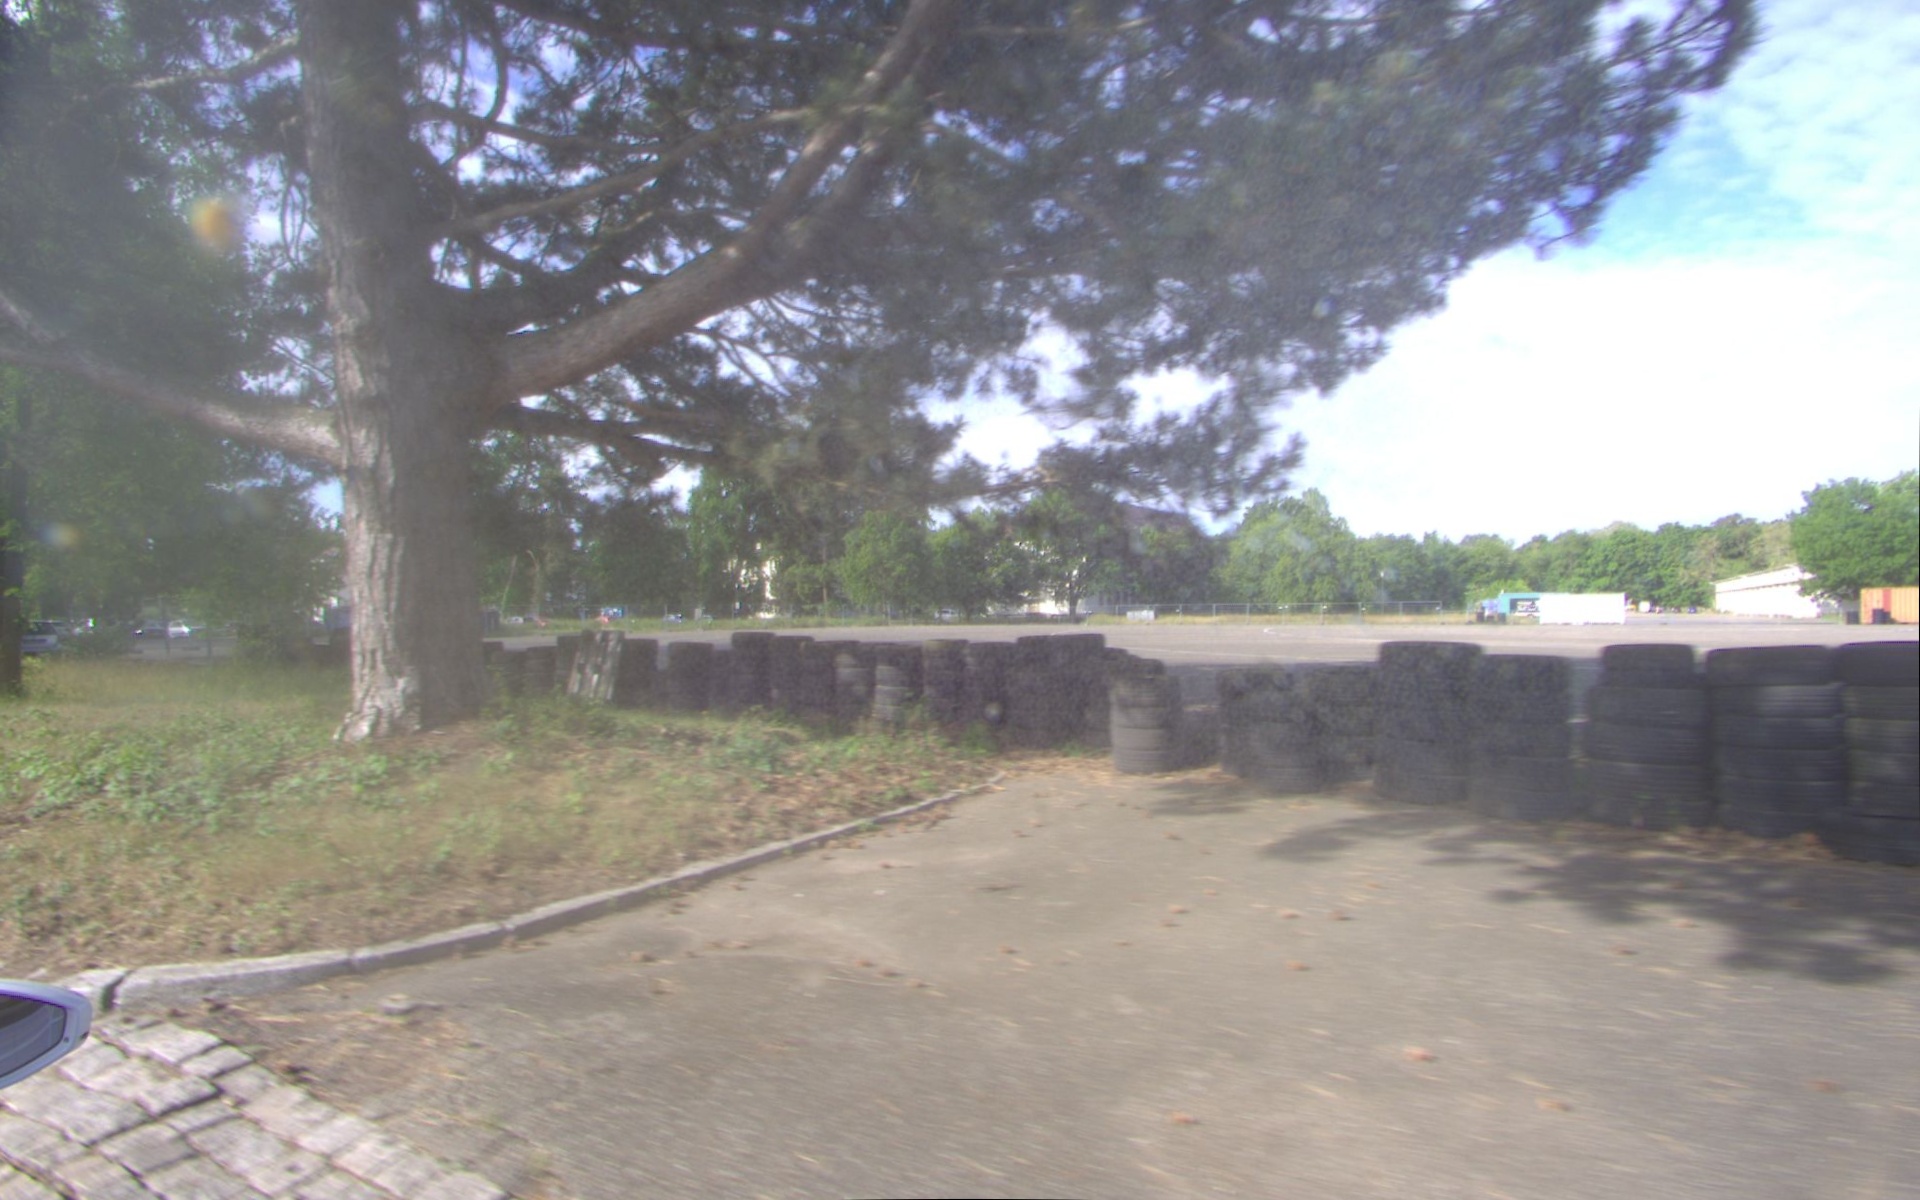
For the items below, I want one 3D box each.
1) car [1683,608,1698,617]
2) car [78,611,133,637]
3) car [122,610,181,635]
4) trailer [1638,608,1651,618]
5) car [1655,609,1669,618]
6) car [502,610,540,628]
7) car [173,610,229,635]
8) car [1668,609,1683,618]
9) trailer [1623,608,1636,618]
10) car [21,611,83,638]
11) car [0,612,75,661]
[{"bbox_3d":[144.989,2.524,198.646,1.970,1.773,3.982,0,-1,30],"label":"car"},{"bbox_3d":[-55.475,1.543,64.982,3.947,1.639,1.815,-1,0,36],"label":"car"},{"bbox_3d":[-54.325,1.521,67.254,3.945,1.639,1.988,-1,0,34],"label":"car"},{"bbox_3d":[139.417,2.620,204.044,2.035,2.040,3.980,0,-1,32],"label":"trailer"},{"bbox_3d":[140.916,2.707,201.103,1.970,1.773,3.982,0,-1,30],"label":"car"},{"bbox_3d":[-44.765,1.953,102.013,3.951,1.773,1.985,-1,0,39],"label":"car"},{"bbox_3d":[-52.969,1.550,69.871,3.945,1.639,1.988,-1,0,34],"label":"car"},{"bbox_3d":[142.891,2.651,200.026,2.008,1.832,3.982,0,0,30],"label":"car"},{"bbox_3d":[138.089,2.613,206.512,1.971,2.040,3.980,0,-1,31],"label":"trailer"},{"bbox_3d":[-56.740,1.524,62.590,3.945,1.639,1.988,-1,0,34],"label":"car"},{"bbox_3d":[-31.581,1.190,33.658,3.946,1.561,1.881,-1,-1,35],"label":"car"}]
